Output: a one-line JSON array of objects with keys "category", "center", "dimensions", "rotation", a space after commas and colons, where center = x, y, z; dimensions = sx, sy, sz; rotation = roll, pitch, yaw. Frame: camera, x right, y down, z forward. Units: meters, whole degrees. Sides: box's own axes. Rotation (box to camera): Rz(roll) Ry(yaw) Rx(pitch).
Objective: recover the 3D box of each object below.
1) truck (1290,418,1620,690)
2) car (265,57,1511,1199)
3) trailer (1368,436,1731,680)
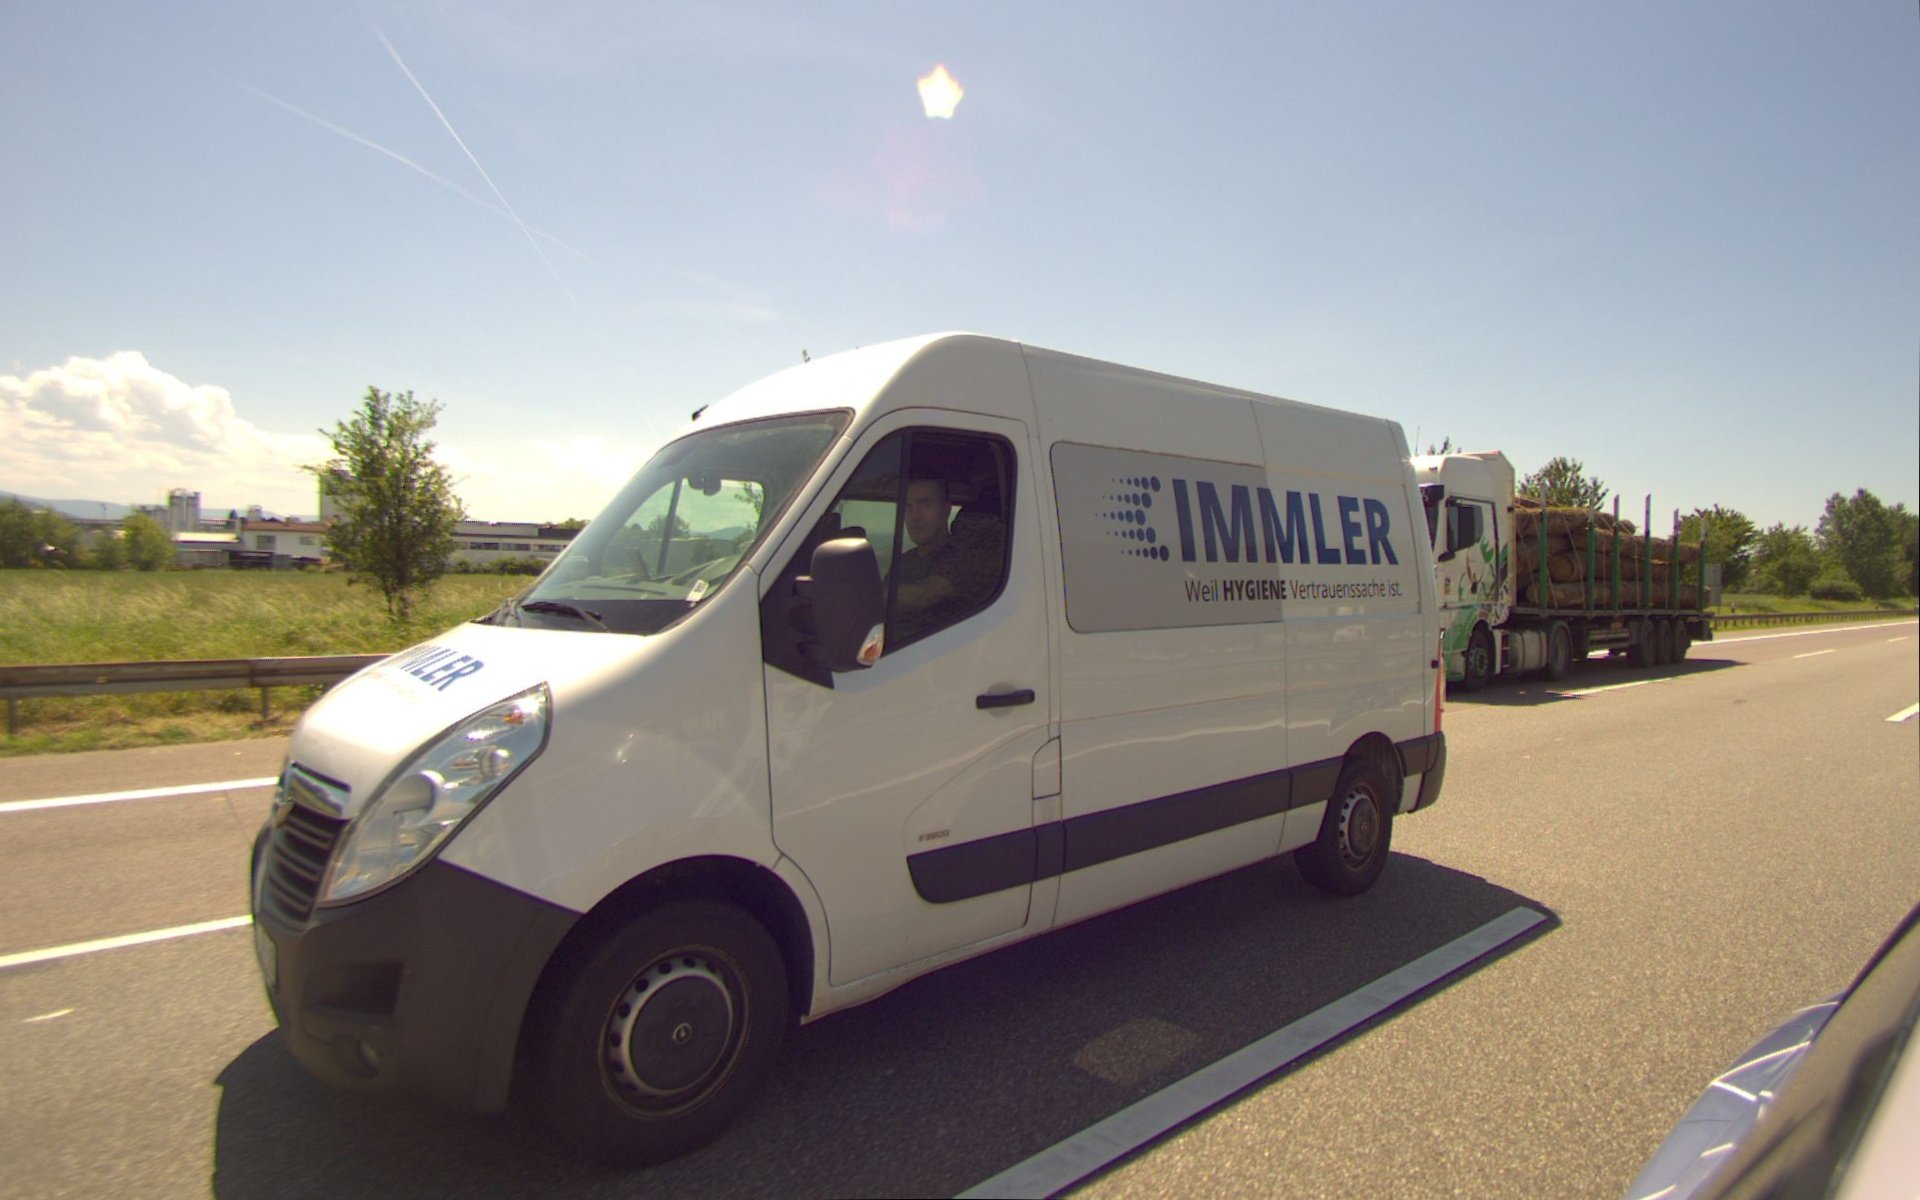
[{"category": "truck", "center": [9.252, -0.700, 18.423], "dimensions": [7.569, 4.016, 2.697], "rotation": [0, 0, -41]}, {"category": "car", "center": [0.329, 0.113, 4.838], "dimensions": [5.842, 2.540, 2.157], "rotation": [-1, 0, -41]}, {"category": "trailer", "center": [13.576, -0.726, 22.232], "dimensions": [13.718, 4.016, 2.697], "rotation": [0, 0, -41]}]
